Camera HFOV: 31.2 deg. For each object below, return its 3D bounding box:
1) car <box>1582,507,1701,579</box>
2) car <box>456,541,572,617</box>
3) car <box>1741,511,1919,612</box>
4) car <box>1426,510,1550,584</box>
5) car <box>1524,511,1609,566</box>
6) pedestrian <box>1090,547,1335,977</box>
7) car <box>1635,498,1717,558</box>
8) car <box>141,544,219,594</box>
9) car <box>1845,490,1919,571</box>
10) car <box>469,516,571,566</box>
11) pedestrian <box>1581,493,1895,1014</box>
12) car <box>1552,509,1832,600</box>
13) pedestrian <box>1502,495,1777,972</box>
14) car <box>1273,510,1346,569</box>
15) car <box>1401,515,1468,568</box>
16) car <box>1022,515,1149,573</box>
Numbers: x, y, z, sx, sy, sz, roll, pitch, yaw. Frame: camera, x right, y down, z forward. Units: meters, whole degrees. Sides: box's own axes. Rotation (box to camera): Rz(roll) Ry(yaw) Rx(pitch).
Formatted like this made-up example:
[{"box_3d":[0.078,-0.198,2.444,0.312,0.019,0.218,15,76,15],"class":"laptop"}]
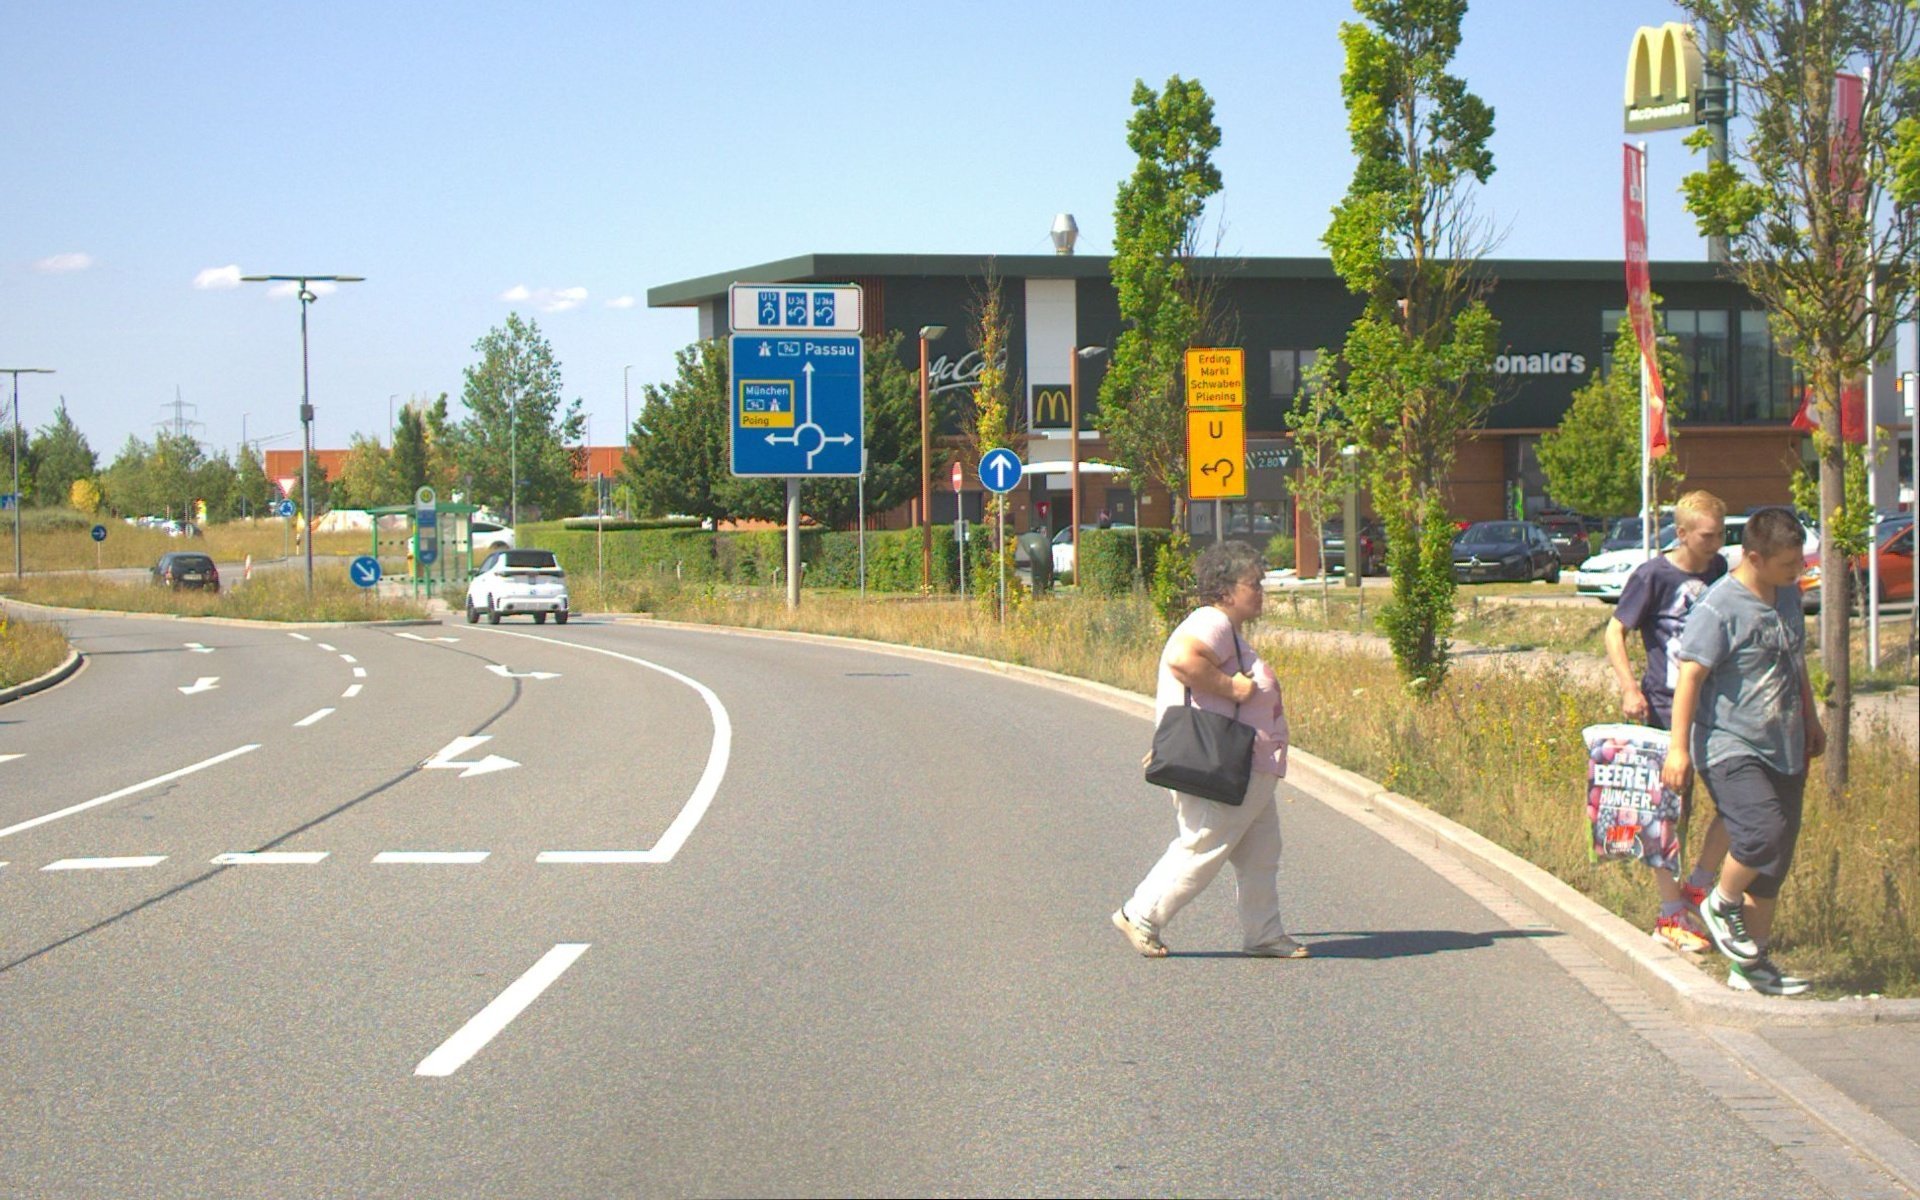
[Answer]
[{"box_3d":[14.609,-1.236,73.534,1.787,1.457,4.165,-1,1,21],"class":"car"},{"box_3d":[-8.863,-0.436,68.061,1.616,1.429,3.794,-1,1,-17],"class":"car"},{"box_3d":[14.726,-0.640,54.397,4.203,1.485,1.869,-2,2,-15],"class":"car"},{"box_3d":[11.114,-1.127,72.188,1.699,1.457,4.165,-1,1,21],"class":"car"},{"box_3d":[17.322,-1.769,98.056,1.794,1.508,3.997,-1,1,18],"class":"car"},{"box_3d":[0.881,0.548,12.240,0.793,1.465,0.949,0,1,-1],"class":"pedestrian"},{"box_3d":[20.841,-2.111,99.954,1.794,1.696,3.996,-1,1,19],"class":"car"},{"box_3d":[-22.951,-0.929,101.063,1.616,1.429,3.793,-1,1,-22],"class":"car"},{"box_3d":[20.540,-1.462,70.898,4.154,1.629,1.792,-2,1,-23],"class":"car"},{"box_3d":[-18.465,-2.482,144.412,3.987,2.007,1.834,-1,1,2],"class":"car"},{"box_3d":[2.497,0.469,11.126,0.809,1.623,0.866,0,1,-1],"class":"pedestrian"},{"box_3d":[13.137,-0.834,61.752,4.524,1.485,1.869,-2,2,-15],"class":"car"},{"box_3d":[2.377,0.448,12.105,0.801,1.624,0.805,0,1,-1],"class":"pedestrian"},{"box_3d":[9.815,-1.705,96.339,1.793,1.599,3.999,-1,1,9],"class":"car"},{"box_3d":[13.397,-1.674,97.018,1.793,1.429,3.999,-1,1,9],"class":"car"},{"box_3d":[3.237,-1.454,89.581,1.792,1.429,4.001,-2,1,-22],"class":"car"}]
